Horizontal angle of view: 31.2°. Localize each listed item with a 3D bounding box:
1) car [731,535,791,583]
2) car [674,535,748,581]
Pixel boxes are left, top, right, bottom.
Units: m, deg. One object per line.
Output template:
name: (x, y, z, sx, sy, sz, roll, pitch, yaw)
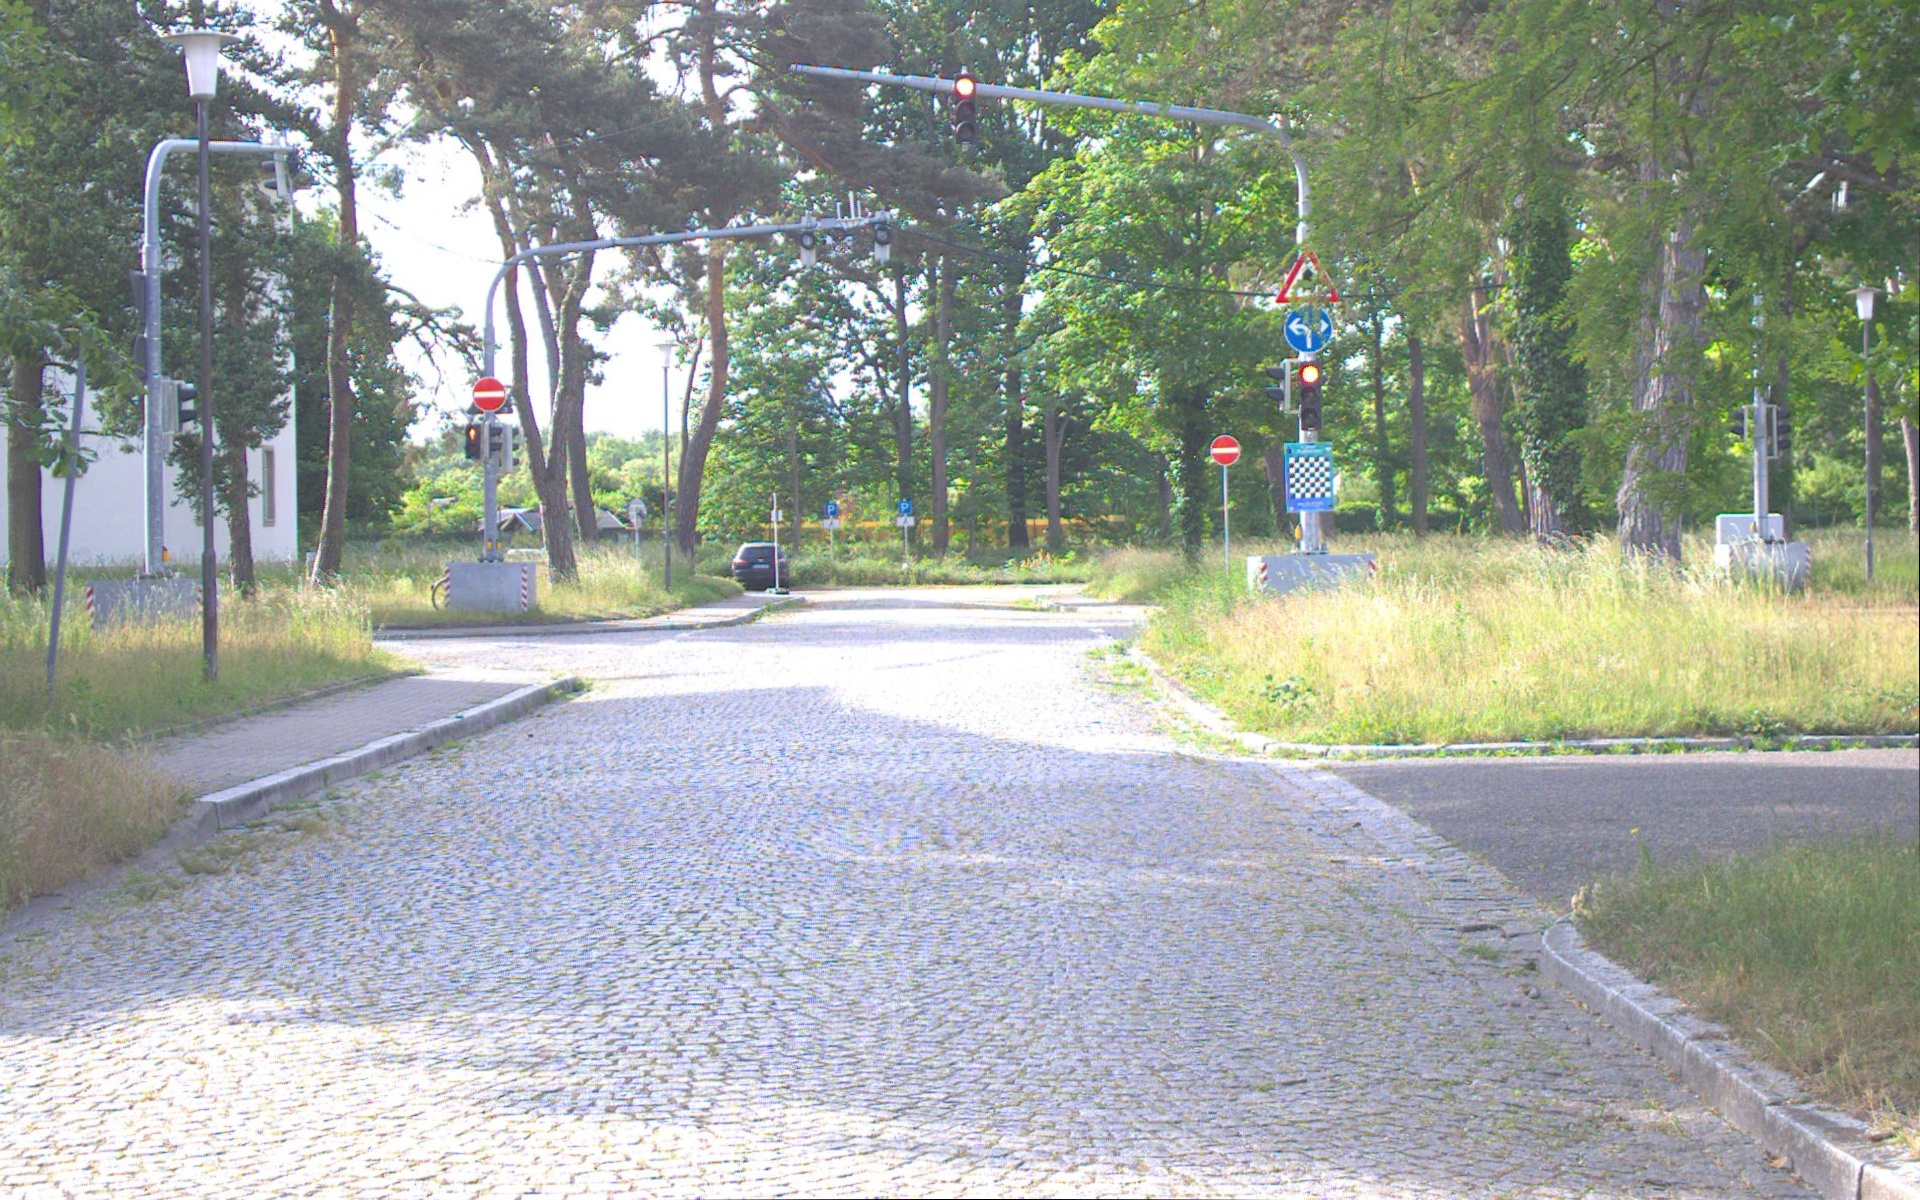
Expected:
car: (-6.376, -1.324, 110.723, 1.845, 1.481, 4.001, -1, 1, -2)
car: (-8.347, -1.414, 115.446, 1.783, 1.485, 3.754, -1, 1, 7)
